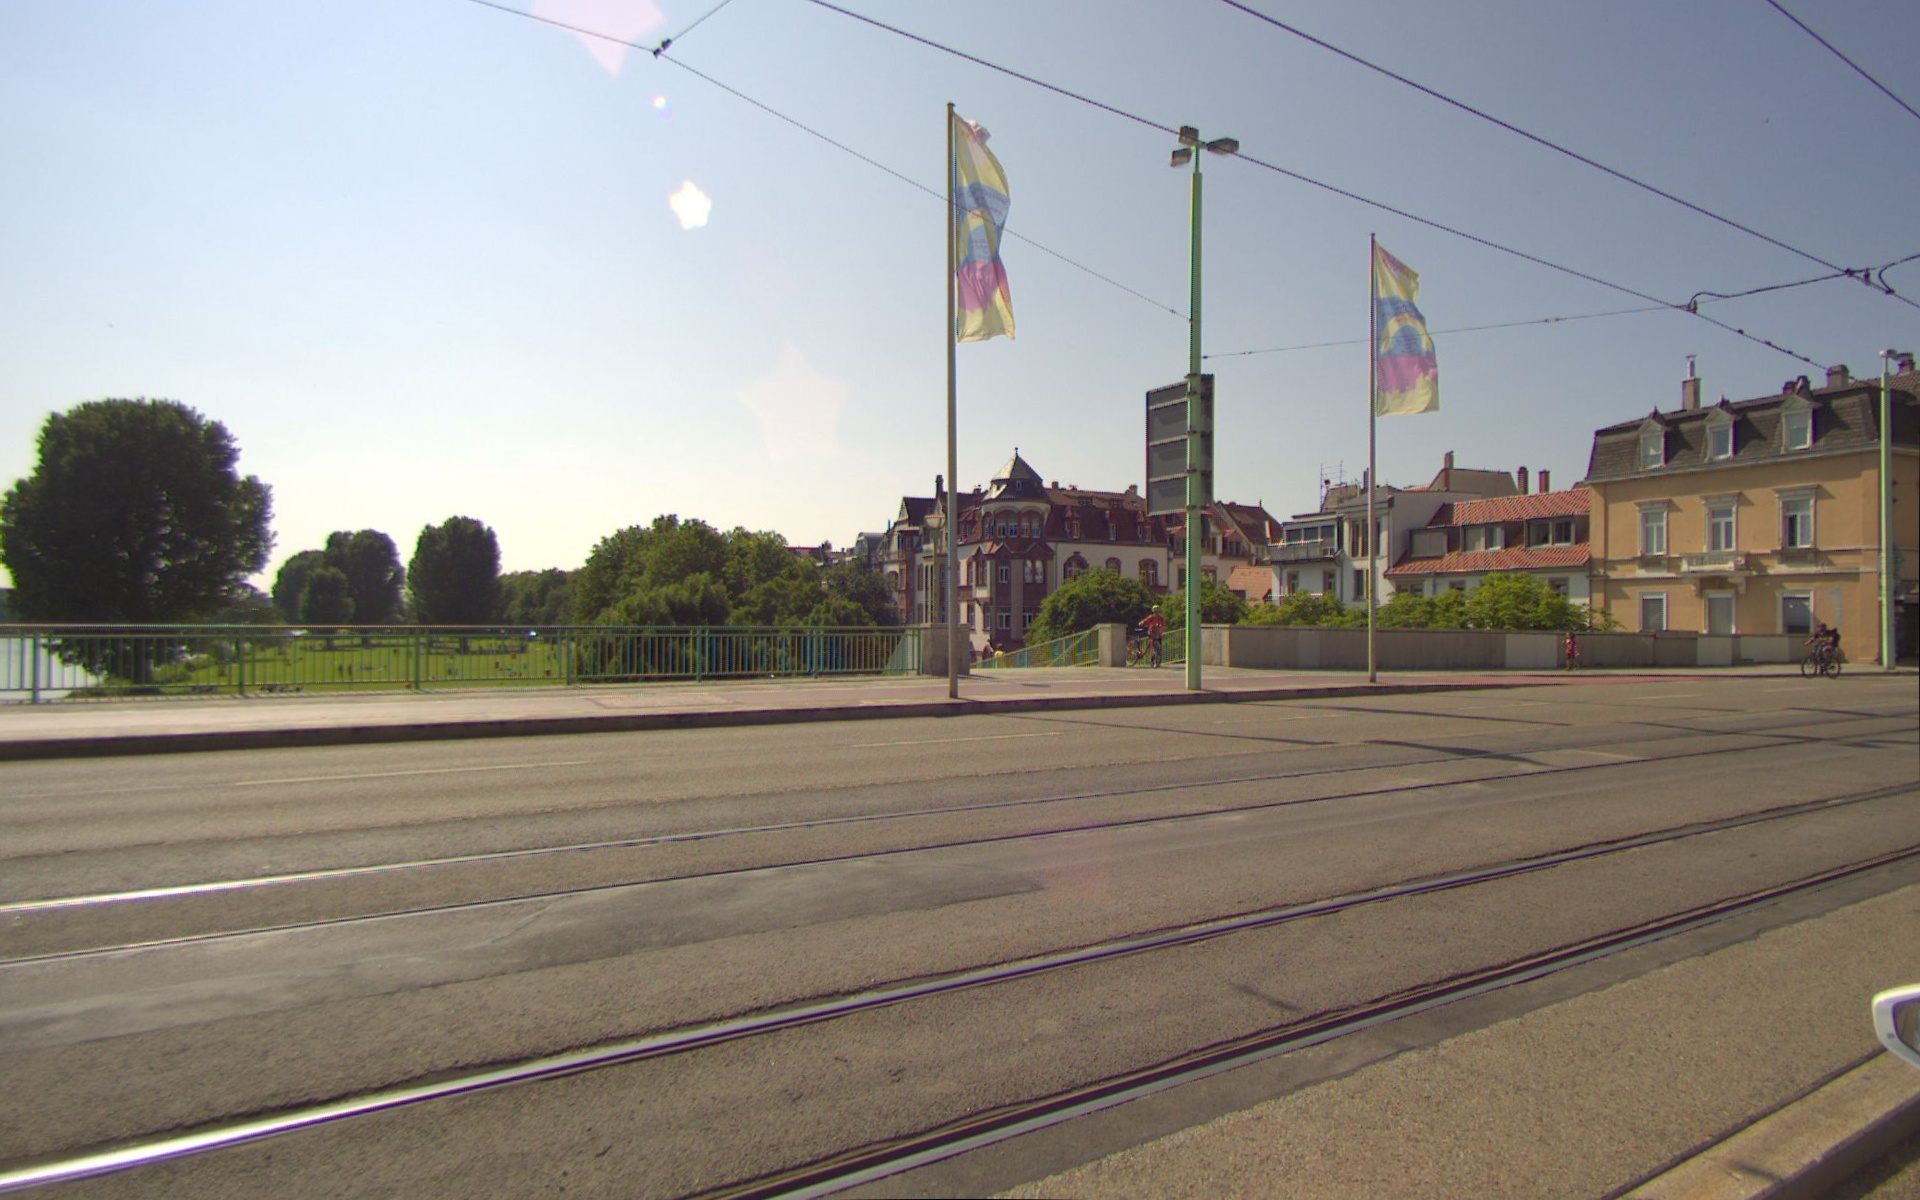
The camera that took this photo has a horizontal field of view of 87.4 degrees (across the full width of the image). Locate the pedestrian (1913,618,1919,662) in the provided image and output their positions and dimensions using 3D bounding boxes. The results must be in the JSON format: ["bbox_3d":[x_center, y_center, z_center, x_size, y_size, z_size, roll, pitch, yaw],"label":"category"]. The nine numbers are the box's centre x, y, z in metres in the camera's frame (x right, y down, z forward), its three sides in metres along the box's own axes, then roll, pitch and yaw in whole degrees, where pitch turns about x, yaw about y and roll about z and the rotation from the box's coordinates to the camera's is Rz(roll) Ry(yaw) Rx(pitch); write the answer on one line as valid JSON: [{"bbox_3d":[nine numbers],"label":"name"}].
[{"bbox_3d":[36.714,1.537,38.080,0.559,1.624,0.646,-1,5,-29],"label":"pedestrian"}]

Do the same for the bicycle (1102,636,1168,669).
[{"bbox_3d":[4.551,1.357,26.272,0.615,0.726,1.918,0,1,-29],"label":"bicycle"}]

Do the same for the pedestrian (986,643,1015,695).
[{"bbox_3d":[1.438,2.430,35.741,0.790,1.804,0.743,1,-1,-24],"label":"pedestrian"}]

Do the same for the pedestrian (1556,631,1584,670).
[{"bbox_3d":[18.543,1.530,30.551,0.536,1.161,0.411,2,3,-21],"label":"pedestrian"}]

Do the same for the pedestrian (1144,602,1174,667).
[{"bbox_3d":[5.183,0.889,26.221,0.408,1.654,0.622,1,2,-30],"label":"pedestrian"}]

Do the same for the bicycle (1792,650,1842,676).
[{"bbox_3d":[26.494,1.940,31.045,1.750,0.726,0.617,0,1,-30],"label":"bicycle"}]

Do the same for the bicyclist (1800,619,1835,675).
[{"bbox_3d":[26.472,1.437,31.021,0.614,1.672,0.624,0,2,-29],"label":"bicyclist"}]
